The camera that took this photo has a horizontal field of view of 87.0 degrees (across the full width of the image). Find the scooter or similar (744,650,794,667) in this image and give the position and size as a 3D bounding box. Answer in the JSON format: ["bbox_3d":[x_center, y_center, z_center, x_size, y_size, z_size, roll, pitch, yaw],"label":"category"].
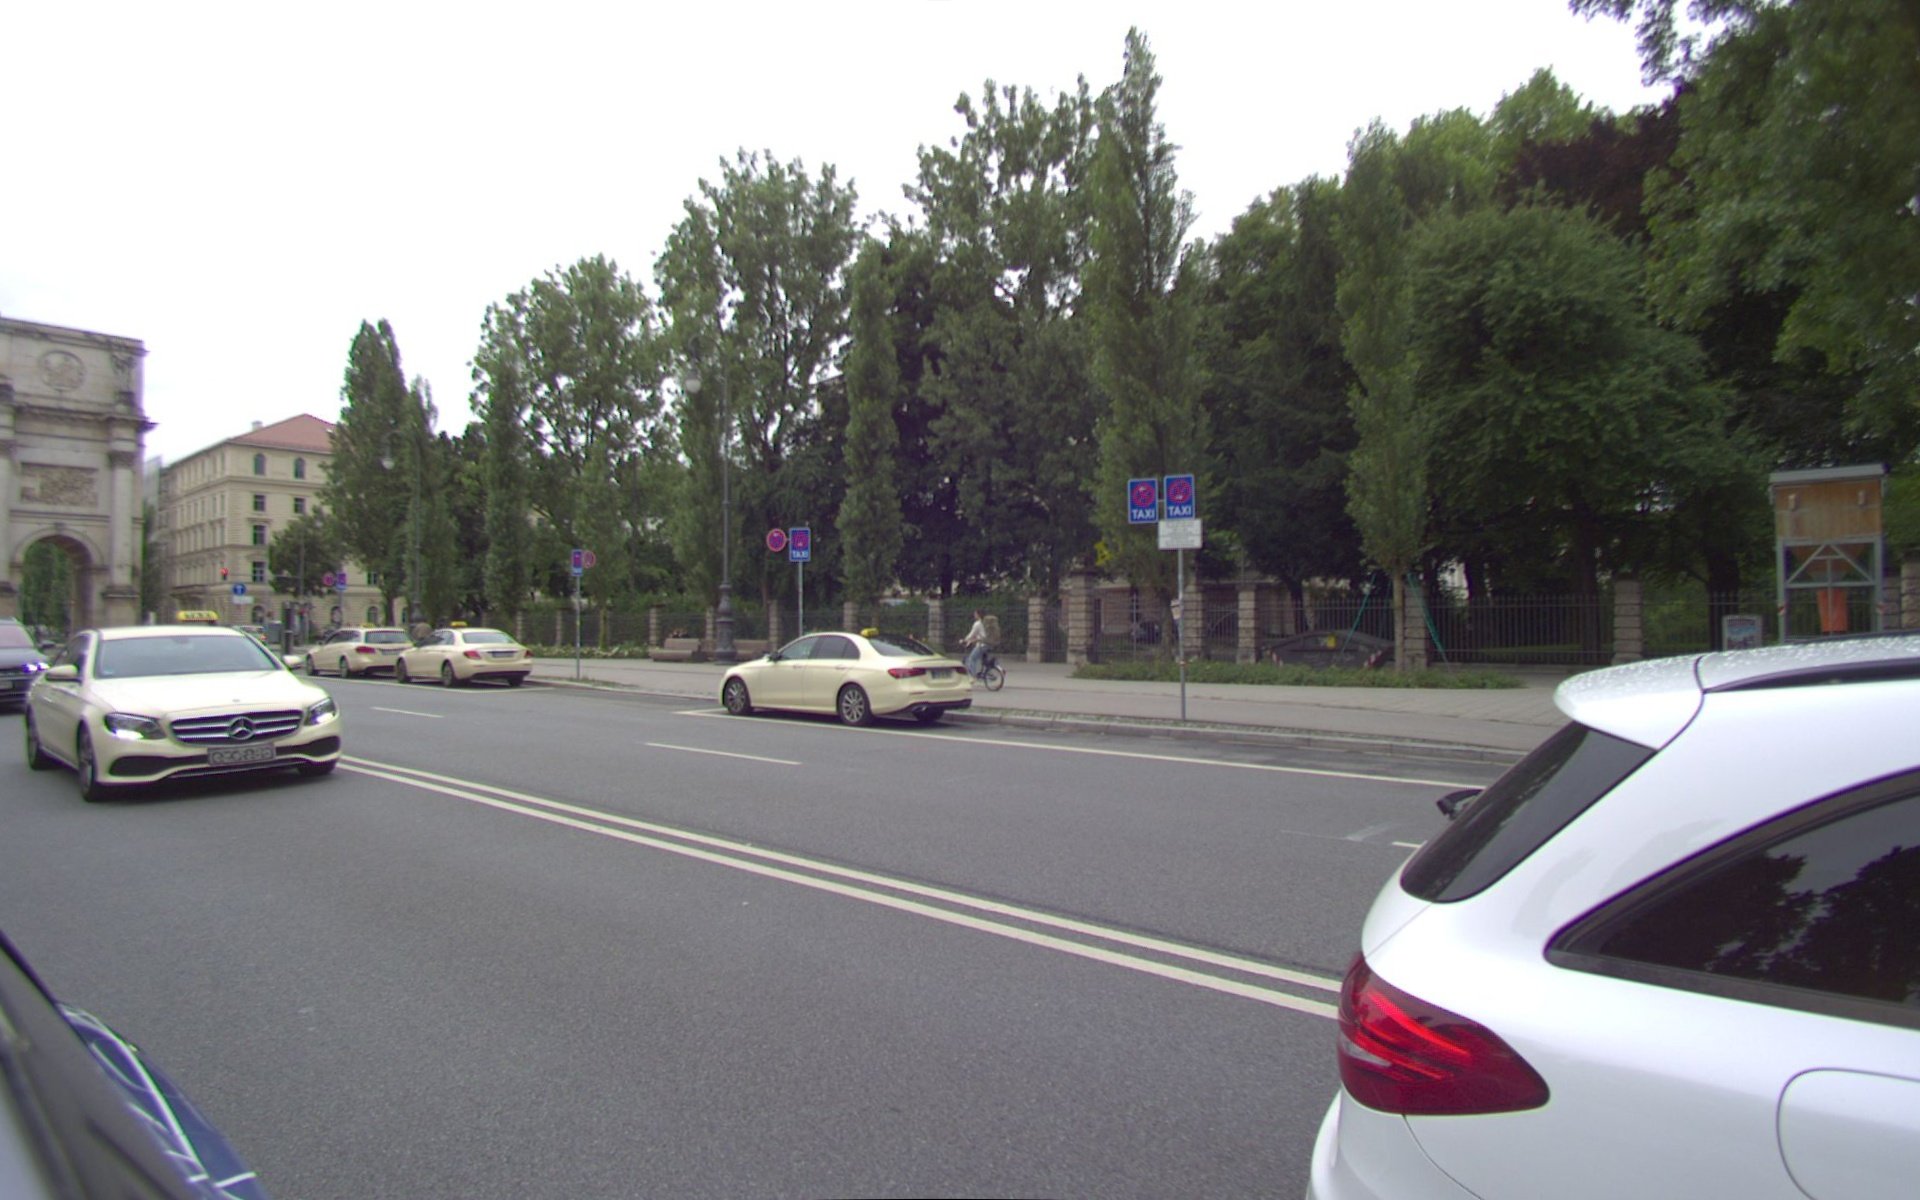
[{"bbox_3d":[-6.500,1.990,34.630,1.314,0.522,2.236,0,-2,0],"label":"scooter or similar"}]

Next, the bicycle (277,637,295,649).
[{"bbox_3d":[-55.857,3.598,83.841,1.757,0.981,0.636,-2,-2,35],"label":"bicycle"}]

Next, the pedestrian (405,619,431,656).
[{"bbox_3d":[-25.669,1.775,47.941,0.834,1.691,0.967,1,-2,-43],"label":"pedestrian"}]

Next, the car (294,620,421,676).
[{"bbox_3d":[-18.266,1.419,30.594,4.855,1.571,1.799,-1,-3,40],"label":"car"}]

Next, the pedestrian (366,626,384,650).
[{"bbox_3d":[-43.833,2.847,75.862,0.751,1.799,0.907,-1,-2,28],"label":"pedestrian"}]

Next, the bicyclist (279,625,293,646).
[{"bbox_3d":[-55.868,2.972,83.867,0.858,1.723,0.636,-2,-2,34],"label":"bicyclist"}]

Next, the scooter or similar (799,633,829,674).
[{"bbox_3d":[-4.465,1.617,30.898,1.122,1.210,0.240,-2,-2,41],"label":"scooter or similar"}]

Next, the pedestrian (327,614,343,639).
[{"bbox_3d":[-50.196,2.146,81.258,0.747,2.029,0.793,-1,-2,6],"label":"pedestrian"}]

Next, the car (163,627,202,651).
[{"bbox_3d":[-56.882,2.841,74.033,1.761,1.684,4.002,1,-2,-45],"label":"car"}]

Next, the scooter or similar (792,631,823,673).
[{"bbox_3d":[-4.641,1.564,30.696,1.140,1.251,0.255,-2,-2,42],"label":"scooter or similar"}]

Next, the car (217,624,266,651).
[{"bbox_3d":[-54.791,2.848,77.182,4.990,1.869,1.977,0,-2,42],"label":"car"}]

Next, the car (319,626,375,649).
[{"bbox_3d":[-55.868,3.419,92.340,1.998,2.029,3.946,-2,-2,40],"label":"car"}]

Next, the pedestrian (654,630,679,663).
[{"bbox_3d":[-11.960,1.894,41.238,0.832,1.347,0.575,-1,-2,14],"label":"pedestrian"}]

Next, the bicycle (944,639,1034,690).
[{"bbox_3d":[0.561,1.268,20.115,1.733,0.946,0.700,-2,-1,39],"label":"bicycle"}]

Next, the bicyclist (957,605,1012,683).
[{"bbox_3d":[0.493,0.866,20.183,0.860,1.510,0.687,-2,-2,39],"label":"bicyclist"}]

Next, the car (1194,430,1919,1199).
[{"bbox_3d":[2.662,0.540,0.664,4.580,1.465,1.807,-1,-1,41],"label":"car"}]

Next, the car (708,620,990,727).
[{"bbox_3d":[-1.950,1.141,16.656,4.788,1.509,1.910,-2,-3,42],"label":"car"}]

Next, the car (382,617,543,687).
[{"bbox_3d":[-12.954,1.278,26.207,4.962,1.637,1.917,-1,-2,41],"label":"car"}]

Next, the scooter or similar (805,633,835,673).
[{"bbox_3d":[-4.294,1.618,31.094,1.122,1.210,0.240,-2,-2,41],"label":"scooter or similar"}]

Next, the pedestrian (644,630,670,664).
[{"bbox_3d":[-12.132,1.885,40.538,0.832,1.347,0.574,-1,-2,14],"label":"pedestrian"}]

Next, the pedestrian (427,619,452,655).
[{"bbox_3d":[-24.872,1.770,48.336,0.834,1.691,0.967,1,-2,-43],"label":"pedestrian"}]

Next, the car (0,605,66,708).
[{"bbox_3d":[-17.200,0.954,17.574,4.409,1.636,1.928,-1,0,41],"label":"car"}]

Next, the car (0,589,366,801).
[{"bbox_3d":[-7.759,0.743,9.902,4.686,1.587,1.895,-1,0,40],"label":"car"}]
